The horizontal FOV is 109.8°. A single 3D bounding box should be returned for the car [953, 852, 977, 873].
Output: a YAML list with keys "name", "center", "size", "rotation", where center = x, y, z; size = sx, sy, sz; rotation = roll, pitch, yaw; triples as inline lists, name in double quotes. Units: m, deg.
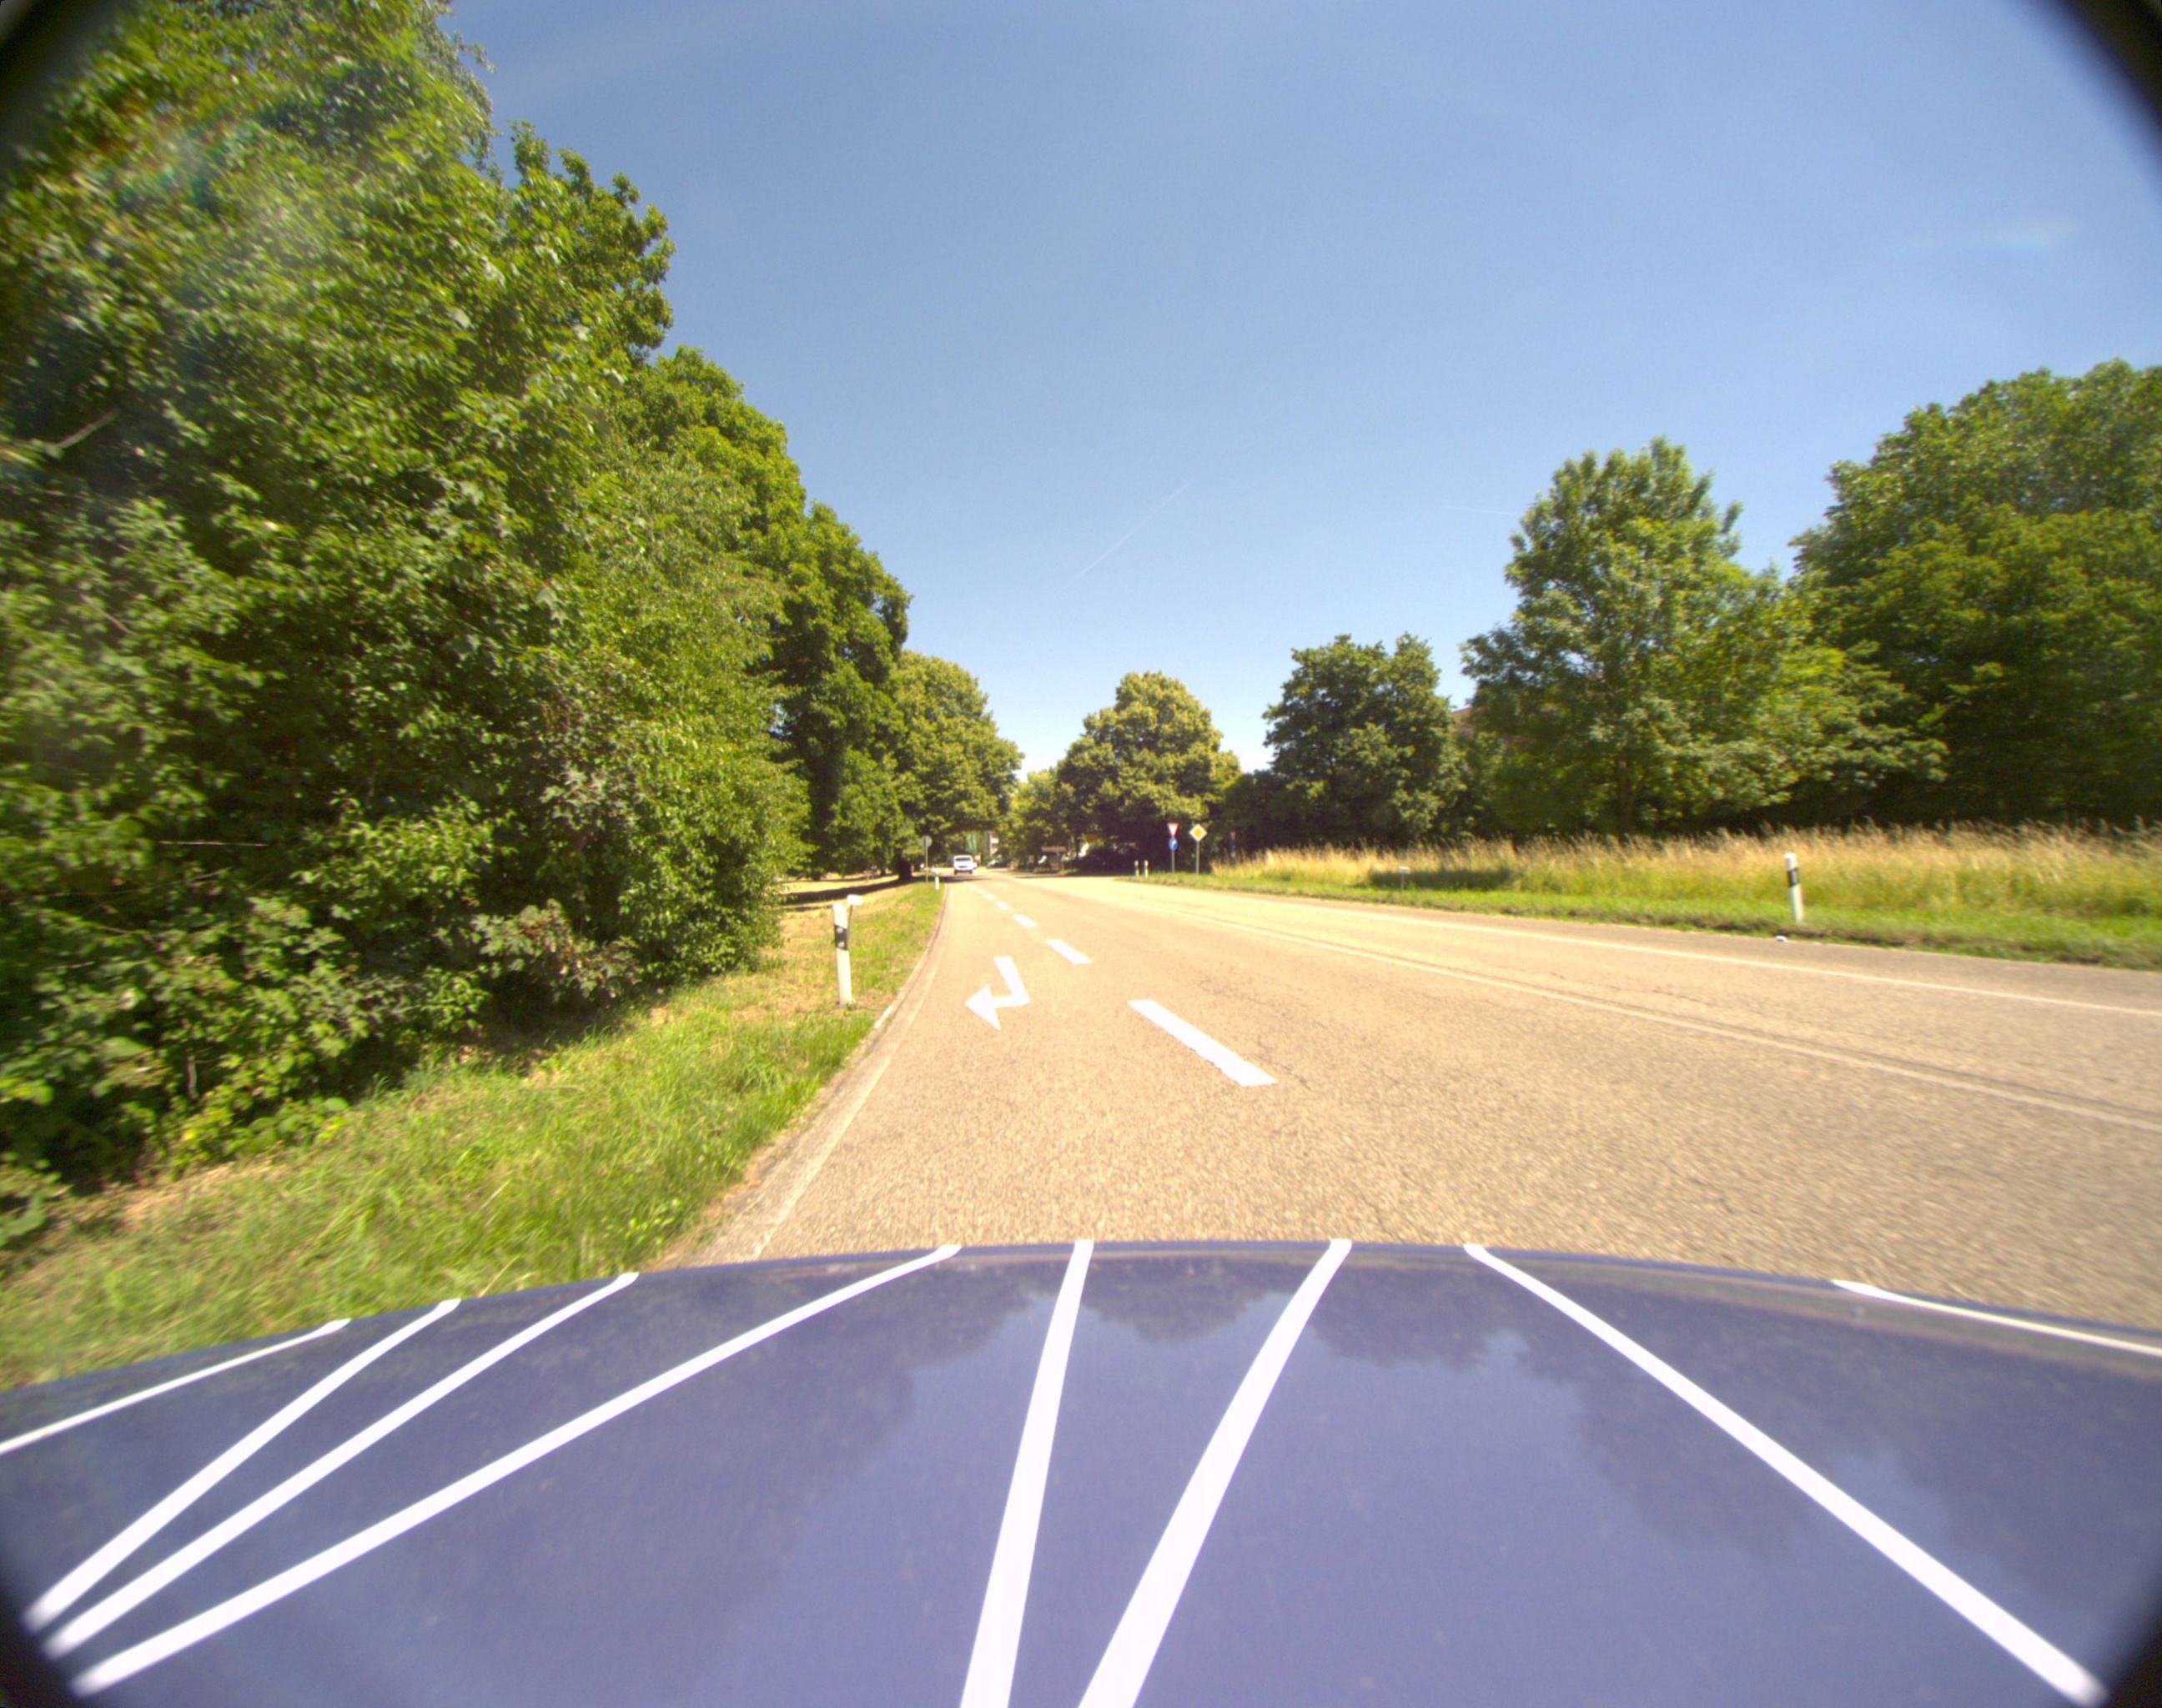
- name: "car"
  center: [-12.257, 0.927, 80.096]
  size: [2.096, 2.001, 4.402]
  rotation: [-2, -1, -13]
